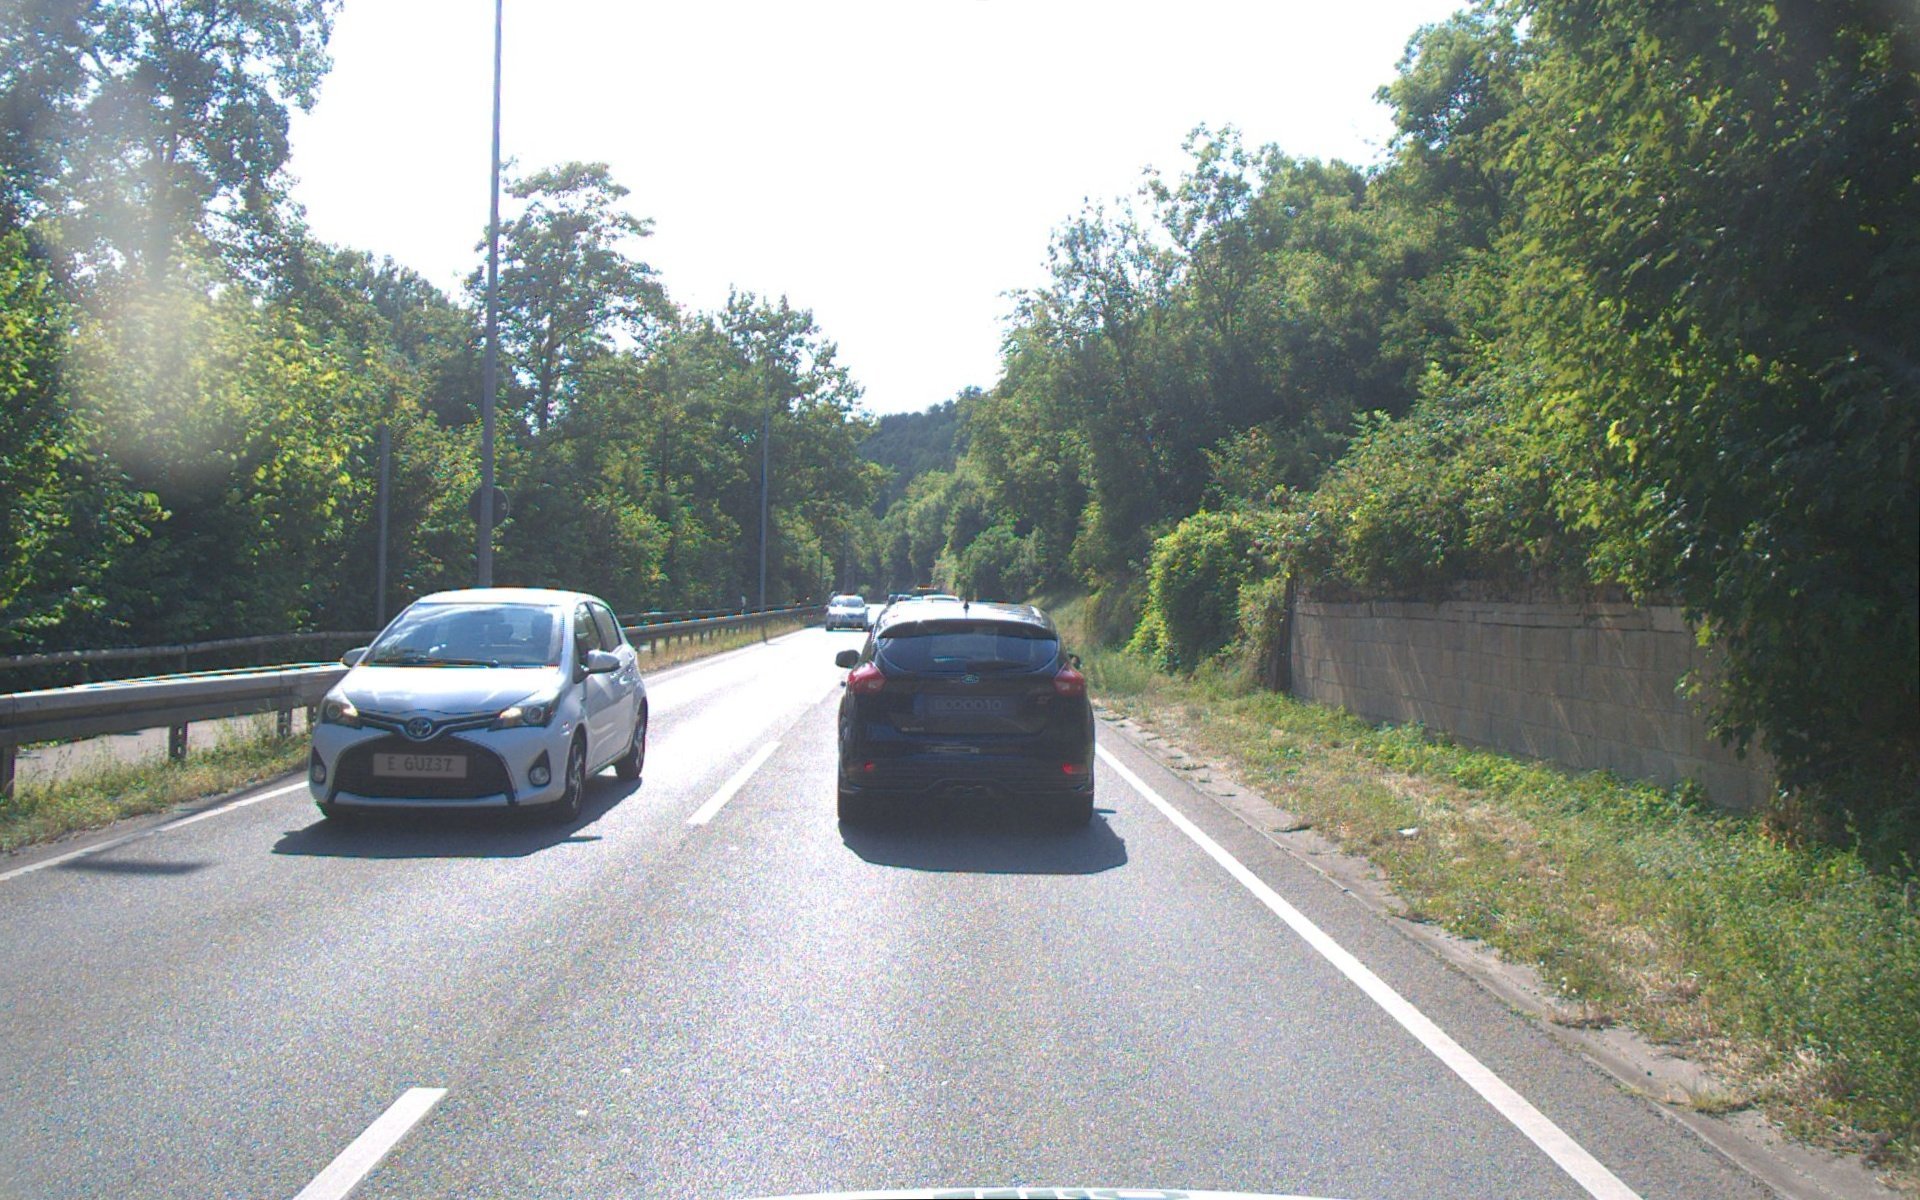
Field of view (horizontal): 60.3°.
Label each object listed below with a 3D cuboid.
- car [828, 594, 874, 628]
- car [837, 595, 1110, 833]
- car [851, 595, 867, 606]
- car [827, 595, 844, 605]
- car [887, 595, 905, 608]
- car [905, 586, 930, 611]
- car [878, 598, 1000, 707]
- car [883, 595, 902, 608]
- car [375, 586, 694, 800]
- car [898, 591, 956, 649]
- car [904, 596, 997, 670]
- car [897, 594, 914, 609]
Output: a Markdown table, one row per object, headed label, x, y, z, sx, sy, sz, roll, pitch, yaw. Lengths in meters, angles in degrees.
| label | x | y | z | sx | sy | sz | roll | pitch | yaw |
| --- | --- | --- | --- | --- | --- | --- | --- | --- | --- |
| car | -4.681 | 0.441 | 71.433 | 1.739 | 1.412 | 3.999 | 0 | 0 | -1 |
| car | 0.059 | 0.720 | 12.389 | 1.704 | 1.482 | 3.999 | 1 | 0 | -1 |
| car | -14.587 | 0.075 | 238.508 | 1.956 | 1.545 | 3.992 | 0 | 0 | -8 |
| car | -19.544 | -0.002 | 259.700 | 1.960 | 1.545 | 3.986 | 0 | 0 | -14 |
| car | -7.602 | 0.185 | 196.416 | 1.954 | 1.545 | 3.997 | 0 | 0 | -4 |
| car | -3.289 | -0.127 | 126.832 | 1.826 | 1.812 | 3.998 | 0 | 0 | -3 |
| car | -0.261 | 0.699 | 24.176 | 1.627 | 1.443 | 4.000 | 0 | 0 | 0 |
| car | -8.444 | 0.170 | 206.592 | 1.956 | 1.545 | 3.992 | 0 | 0 | -8 |
| car | -3.331 | 0.648 | 13.745 | 1.647 | 1.489 | 4.196 | 1 | 0 | -2 |
| car | -0.959 | 0.554 | 48.119 | 1.597 | 1.624 | 3.999 | 0 | 0 | -1 |
| car | -0.212 | 0.638 | 33.901 | 1.768 | 1.416 | 3.999 | 0 | 0 | -1 |
| car | -6.069 | 0.166 | 184.207 | 1.782 | 1.545 | 3.999 | 0 | 0 | -1 |
